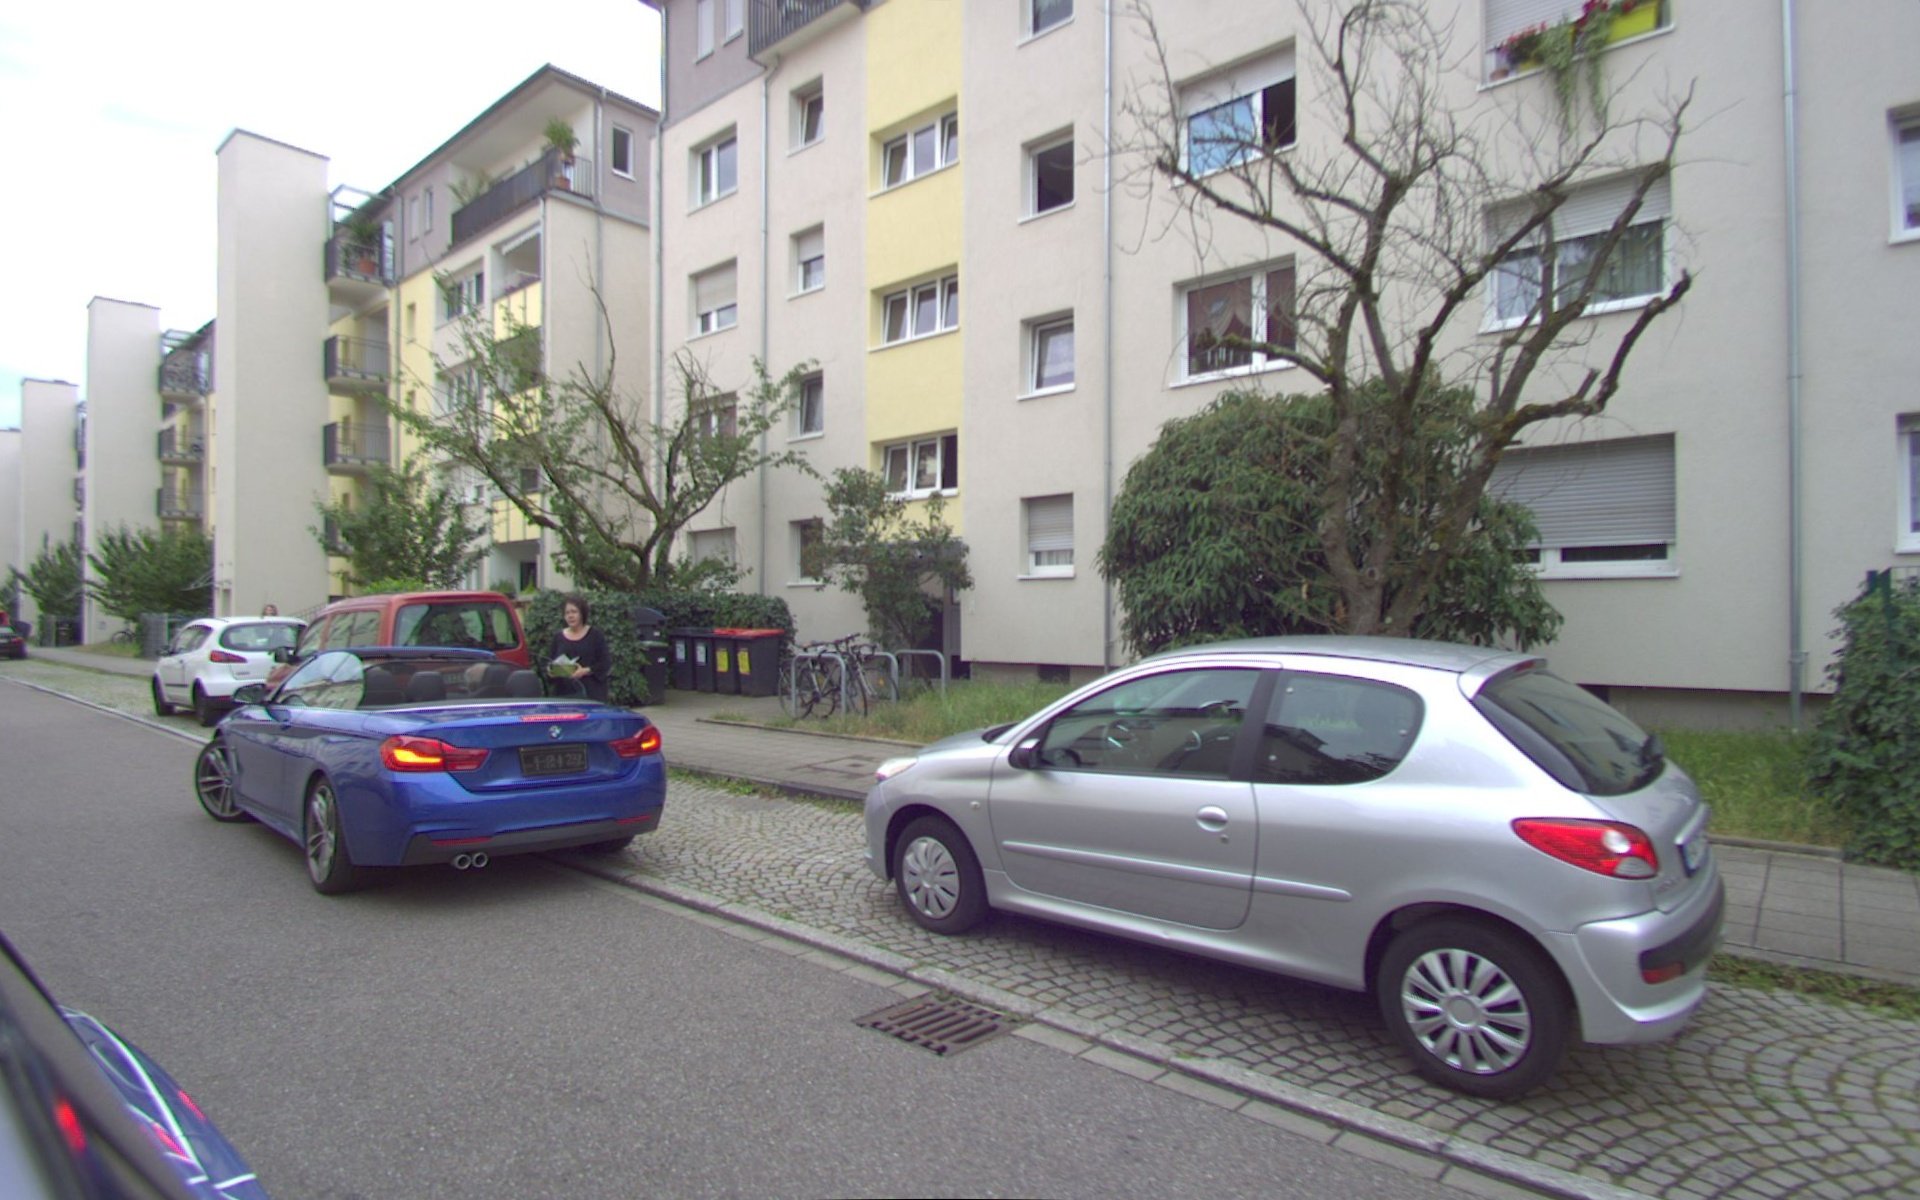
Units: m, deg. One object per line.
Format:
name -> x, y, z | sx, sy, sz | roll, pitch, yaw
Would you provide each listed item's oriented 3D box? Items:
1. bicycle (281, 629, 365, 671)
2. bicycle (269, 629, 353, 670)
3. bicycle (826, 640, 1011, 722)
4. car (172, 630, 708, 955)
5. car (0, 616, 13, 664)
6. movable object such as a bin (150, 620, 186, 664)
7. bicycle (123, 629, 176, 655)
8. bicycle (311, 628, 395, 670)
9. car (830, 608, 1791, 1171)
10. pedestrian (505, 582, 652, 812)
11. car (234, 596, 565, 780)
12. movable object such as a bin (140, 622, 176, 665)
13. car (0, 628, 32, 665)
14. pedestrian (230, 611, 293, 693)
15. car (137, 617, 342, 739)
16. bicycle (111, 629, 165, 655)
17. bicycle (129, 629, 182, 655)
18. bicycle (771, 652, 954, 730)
bicycle -> -18.530, 1.427, 29.476 | 0.621, 1.150, 2.007 | -1, -1, 31
bicycle -> -19.076, 1.435, 29.796 | 0.621, 1.150, 2.007 | -1, -1, 31
bicycle -> -0.627, 1.066, 13.913 | 2.754, 1.006, 0.769 | -1, -2, 40
car -> -3.773, 0.957, 6.903 | 4.500, 1.462, 1.825 | -1, -1, 43
car -> -41.608, 1.710, 42.406 | 4.916, 1.968, 2.130 | -1, 0, 39
movable object such as a bin -> -26.397, 1.385, 33.714 | 1.289, 1.440, 0.794 | -2, -1, 45
bicycle -> -36.728, 1.891, 45.860 | 0.570, 1.127, 1.814 | -2, -2, 43
bicycle -> -17.535, 1.398, 29.291 | 0.622, 1.150, 2.003 | -1, -2, 38
car -> 1.321, 0.820, 4.639 | 3.784, 1.476, 1.726 | -1, 0, 41
pedestrian -> -3.019, 0.734, 8.052 | 0.791, 1.714, 0.737 | -1, -2, 24
car -> -6.725, 0.892, 11.956 | 4.357, 1.784, 1.937 | -1, -1, 39
movable object such as a bin -> -27.437, 1.472, 34.625 | 1.288, 1.440, 0.794 | -2, -1, 44
car -> -36.787, 1.762, 38.365 | 4.358, 1.333, 1.851 | -1, 0, 40
pedestrian -> -14.206, 1.046, 20.596 | 0.945, 1.622, 0.792 | -1, -2, 37
car -> -11.133, 1.100, 15.545 | 3.868, 1.582, 1.703 | -1, 0, 41
bicycle -> -37.425, 1.886, 46.081 | 0.604, 1.127, 1.816 | -2, -1, 40
bicycle -> -35.962, 1.875, 45.254 | 1.812, 1.127, 0.571 | 0, -2, -43
bicycle -> -1.301, 1.115, 12.921 | 2.754, 0.854, 0.565 | -1, -2, 40
